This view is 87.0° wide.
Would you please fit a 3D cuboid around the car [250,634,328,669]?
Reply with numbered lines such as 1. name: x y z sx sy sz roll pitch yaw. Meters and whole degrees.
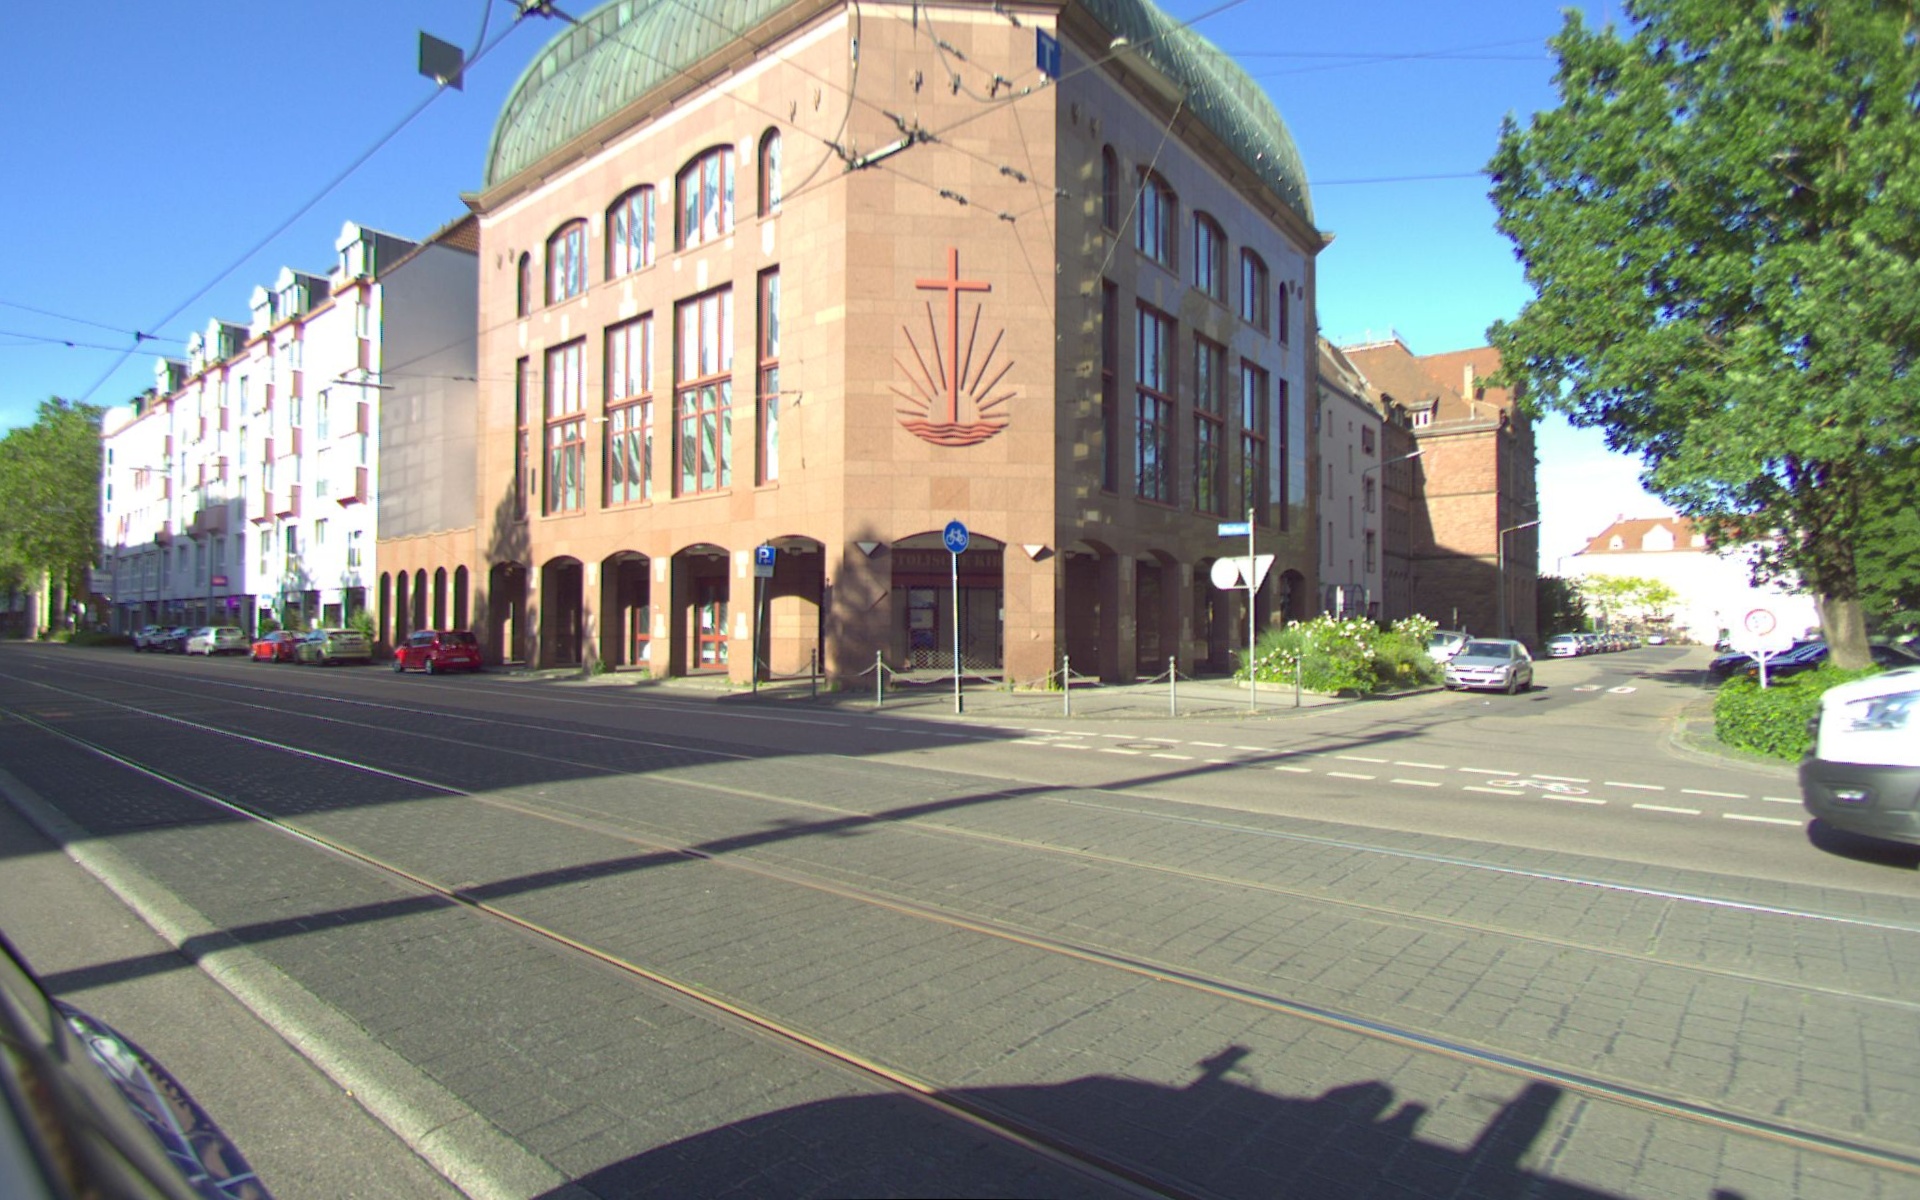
1. car: -28.668 2.171 43.234 3.851 1.364 1.832 -1 -1 41

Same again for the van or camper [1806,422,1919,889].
1. van or camper: 8.692 0.317 4.842 7.012 2.760 2.016 -1 -3 39

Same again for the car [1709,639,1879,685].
1. car: 30.728 2.235 37.388 4.725 1.542 1.972 -1 -3 43

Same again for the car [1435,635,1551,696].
1. car: 14.881 1.756 28.155 1.999 1.542 4.217 -1 -3 40

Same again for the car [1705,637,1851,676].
1. car: 35.020 2.376 43.404 4.725 1.542 1.972 -1 -3 43

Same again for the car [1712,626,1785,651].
1. car: 67.353 3.280 86.505 4.829 2.029 1.974 -1 -3 39

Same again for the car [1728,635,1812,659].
1. car: 53.752 3.108 67.271 4.267 1.542 1.975 -1 -2 37

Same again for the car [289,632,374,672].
1. car: -24.908 2.025 40.077 3.851 1.465 1.832 -1 -1 41

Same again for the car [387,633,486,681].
1. car: -17.537 1.861 33.844 3.468 1.465 1.731 -1 -1 39

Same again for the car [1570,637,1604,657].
1. car: 49.259 3.688 79.476 1.996 1.542 4.175 -1 -3 35

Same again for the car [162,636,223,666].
1. car: -40.888 2.685 53.882 3.851 1.465 1.832 -1 -1 41

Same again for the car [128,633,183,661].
1. car: -46.686 2.699 58.686 3.851 1.465 1.832 -1 -1 41

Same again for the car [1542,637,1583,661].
1. car: 40.047 3.223 67.218 1.996 1.542 4.175 -1 -3 35

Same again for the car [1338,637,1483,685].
1. car: 15.443 2.042 34.761 4.266 1.542 1.976 -1 -3 36

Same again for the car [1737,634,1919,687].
1. car: 28.418 1.908 32.997 4.725 1.541 1.972 -1 -1 43

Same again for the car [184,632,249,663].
1. car: -37.255 2.345 50.703 3.851 1.465 1.832 -1 -1 41

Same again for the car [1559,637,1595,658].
1. car: 45.663 3.496 74.885 1.996 1.542 4.175 -1 -3 35

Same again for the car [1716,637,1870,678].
1. car: 33.705 2.282 41.027 4.725 1.542 1.972 -1 -3 43

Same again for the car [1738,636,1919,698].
1. car: 25.407 1.878 29.043 4.725 1.541 1.972 -1 0 43
